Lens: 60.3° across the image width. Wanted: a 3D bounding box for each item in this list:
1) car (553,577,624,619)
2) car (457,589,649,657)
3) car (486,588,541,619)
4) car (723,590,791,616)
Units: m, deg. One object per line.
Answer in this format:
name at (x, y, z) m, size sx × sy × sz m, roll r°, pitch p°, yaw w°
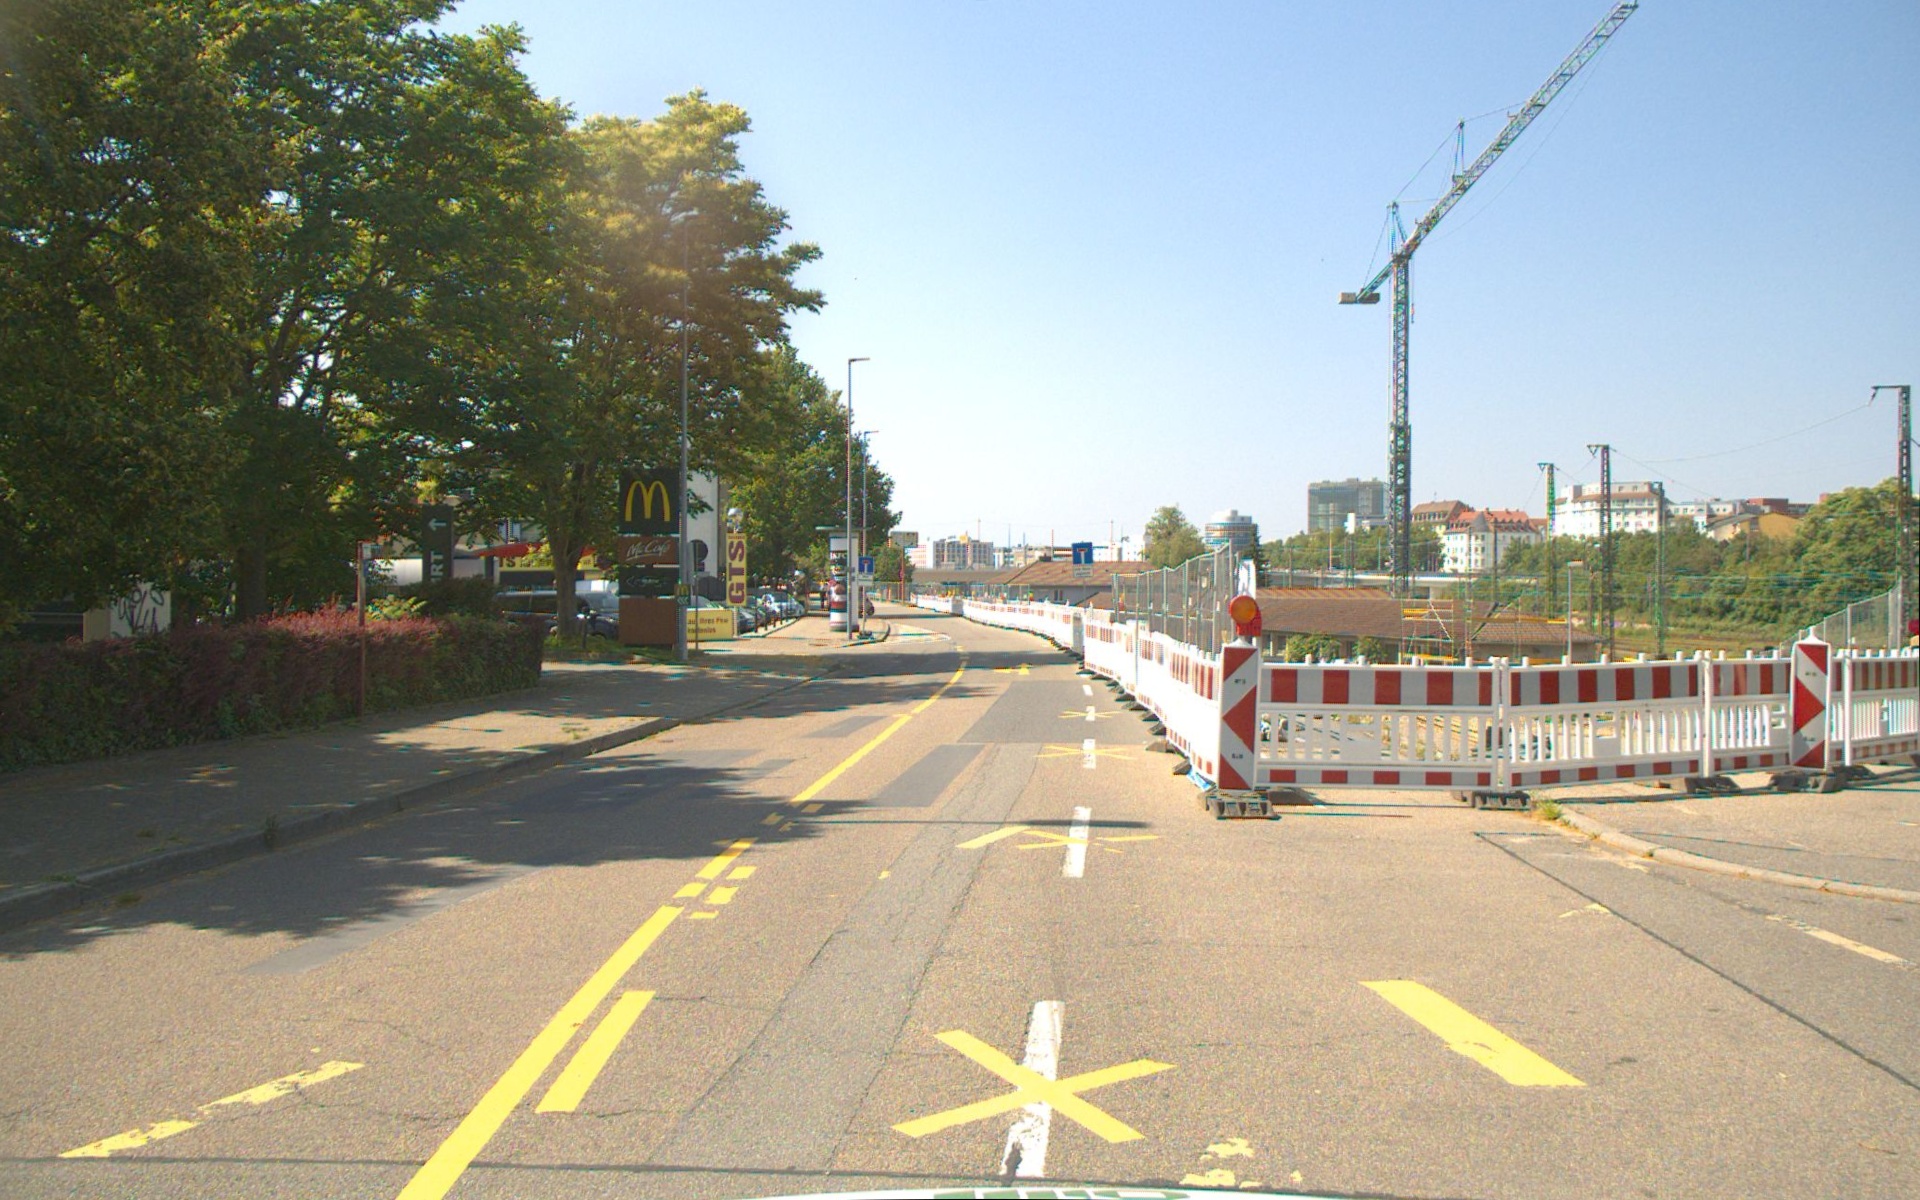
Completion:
car at (-17.423, -0.092, 77.449) m, size 1.976 × 1.937 × 3.953 m, roll 0°, pitch 0°, yaw -34°
car at (-12.247, 0.674, 49.993) m, size 5.252 × 1.969 × 2.001 m, roll 0°, pitch 0°, yaw 3°
car at (-20.910, 0.155, 77.347) m, size 1.552 × 1.445 × 3.648 m, roll 0°, pitch 0°, yaw -31°
car at (-11.742, 0.173, 95.568) m, size 3.598 × 1.445 × 1.573 m, roll 0°, pitch 0°, yaw 18°
